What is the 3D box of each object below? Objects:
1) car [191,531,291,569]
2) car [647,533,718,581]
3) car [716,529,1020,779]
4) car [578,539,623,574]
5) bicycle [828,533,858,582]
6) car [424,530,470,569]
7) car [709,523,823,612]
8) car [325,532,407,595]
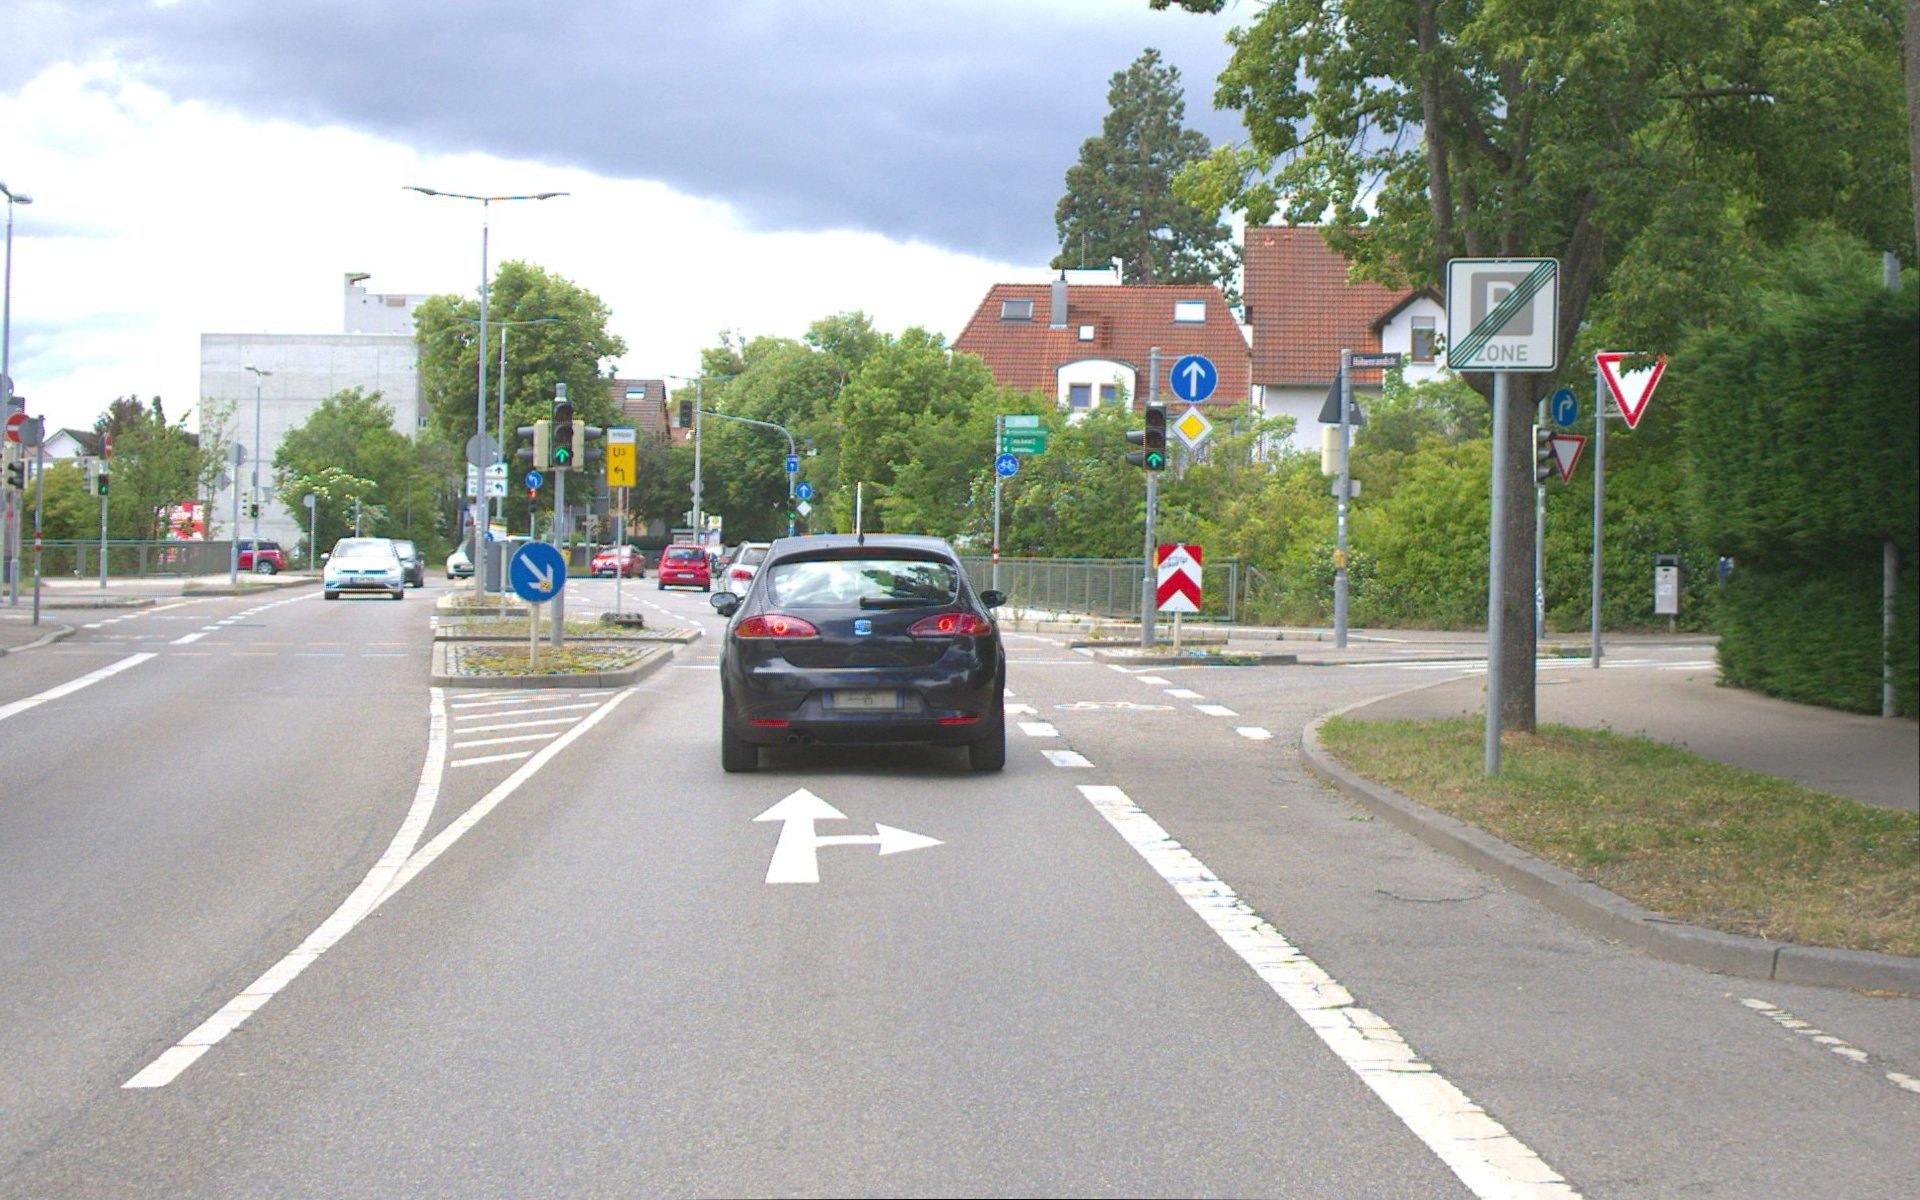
[{"bbox_3d":[-30.183,-2.100,144.339,3.986,1.546,1.750,1,1,-15],"label":"car"},{"bbox_3d":[-8.846,-1.391,109.300,1.941,1.476,4.254,0,1,-9],"label":"car"},{"bbox_3d":[-0.647,0.277,21.906,1.759,1.444,3.715,0,1,-3],"label":"car"},{"bbox_3d":[-15.741,-1.902,150.498,1.720,1.443,4.068,1,1,-9],"label":"car"},{"bbox_3d":[-3.684,-1.354,108.455,0.891,1.505,2.783,0,1,-2],"label":"bicycle"},{"bbox_3d":[-18.913,-1.864,126.697,1.642,1.404,3.820,1,1,-9],"label":"car"},{"bbox_3d":[-3.864,-0.674,67.976,1.818,1.693,4.254,0,1,-9],"label":"car"},{"bbox_3d":[-13.843,-0.859,80.265,1.798,1.439,3.950,0,1,-9],"label":"car"}]
